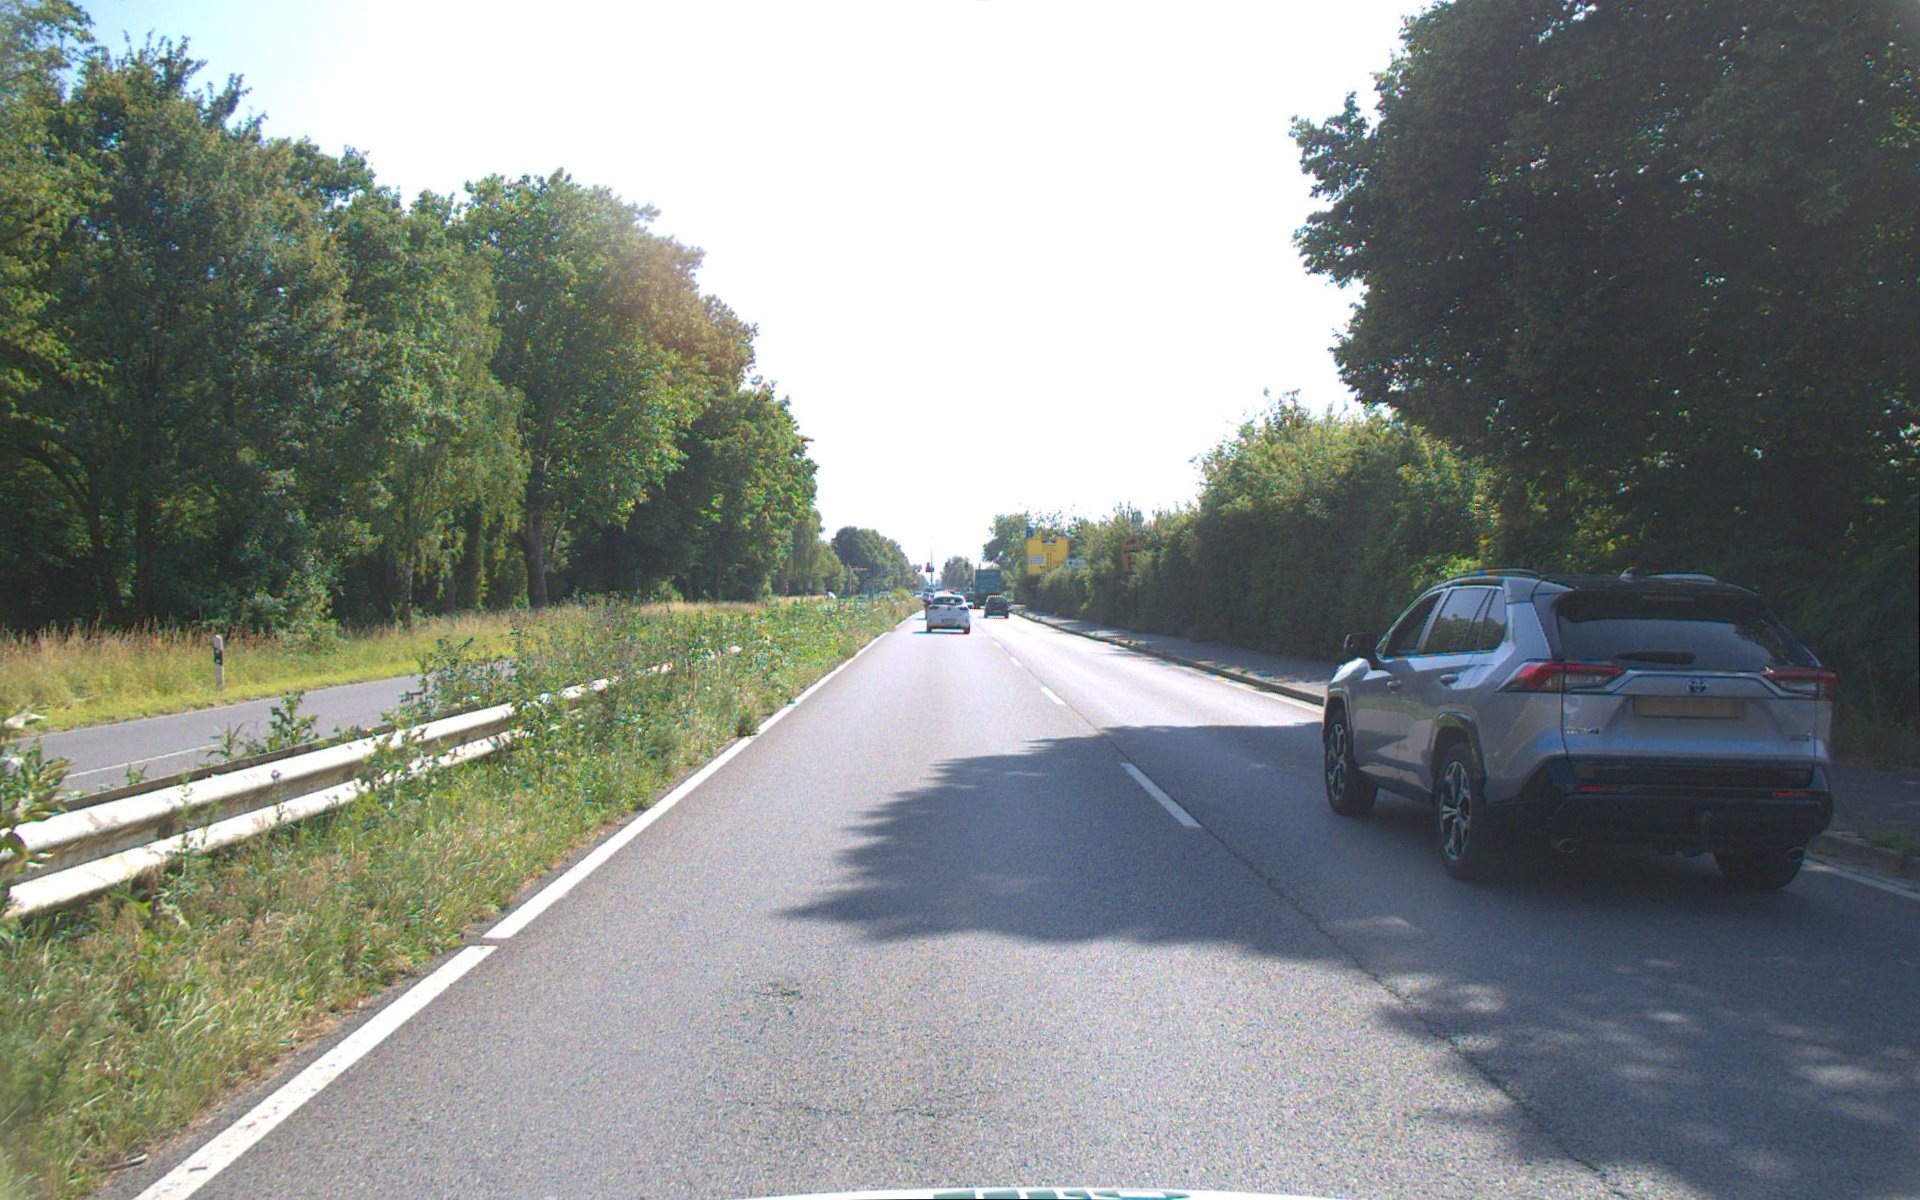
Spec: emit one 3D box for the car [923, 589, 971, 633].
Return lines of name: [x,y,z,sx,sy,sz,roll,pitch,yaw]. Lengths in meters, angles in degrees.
car: [-0.466,0.381,63.554,1.762,1.580,4.000,1,0,0]

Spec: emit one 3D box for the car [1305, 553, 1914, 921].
car: [3.611,0.653,10.284,1.863,1.709,4.682,2,0,-1]

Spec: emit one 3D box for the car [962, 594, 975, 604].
car: [1.304,-0.120,253.418,1.775,1.490,4.460,0,0,2]

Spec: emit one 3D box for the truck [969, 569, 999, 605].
truck: [2.332,-1.287,164.700,2.832,3.488,9.168,0,0,0]

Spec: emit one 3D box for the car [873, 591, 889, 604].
car: [-10.015,-0.325,210.352,1.742,1.557,4.162,-1,0,2]

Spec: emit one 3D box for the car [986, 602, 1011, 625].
car: [2.489,0.893,107.575,1.540,1.439,3.277,1,-1,0]
